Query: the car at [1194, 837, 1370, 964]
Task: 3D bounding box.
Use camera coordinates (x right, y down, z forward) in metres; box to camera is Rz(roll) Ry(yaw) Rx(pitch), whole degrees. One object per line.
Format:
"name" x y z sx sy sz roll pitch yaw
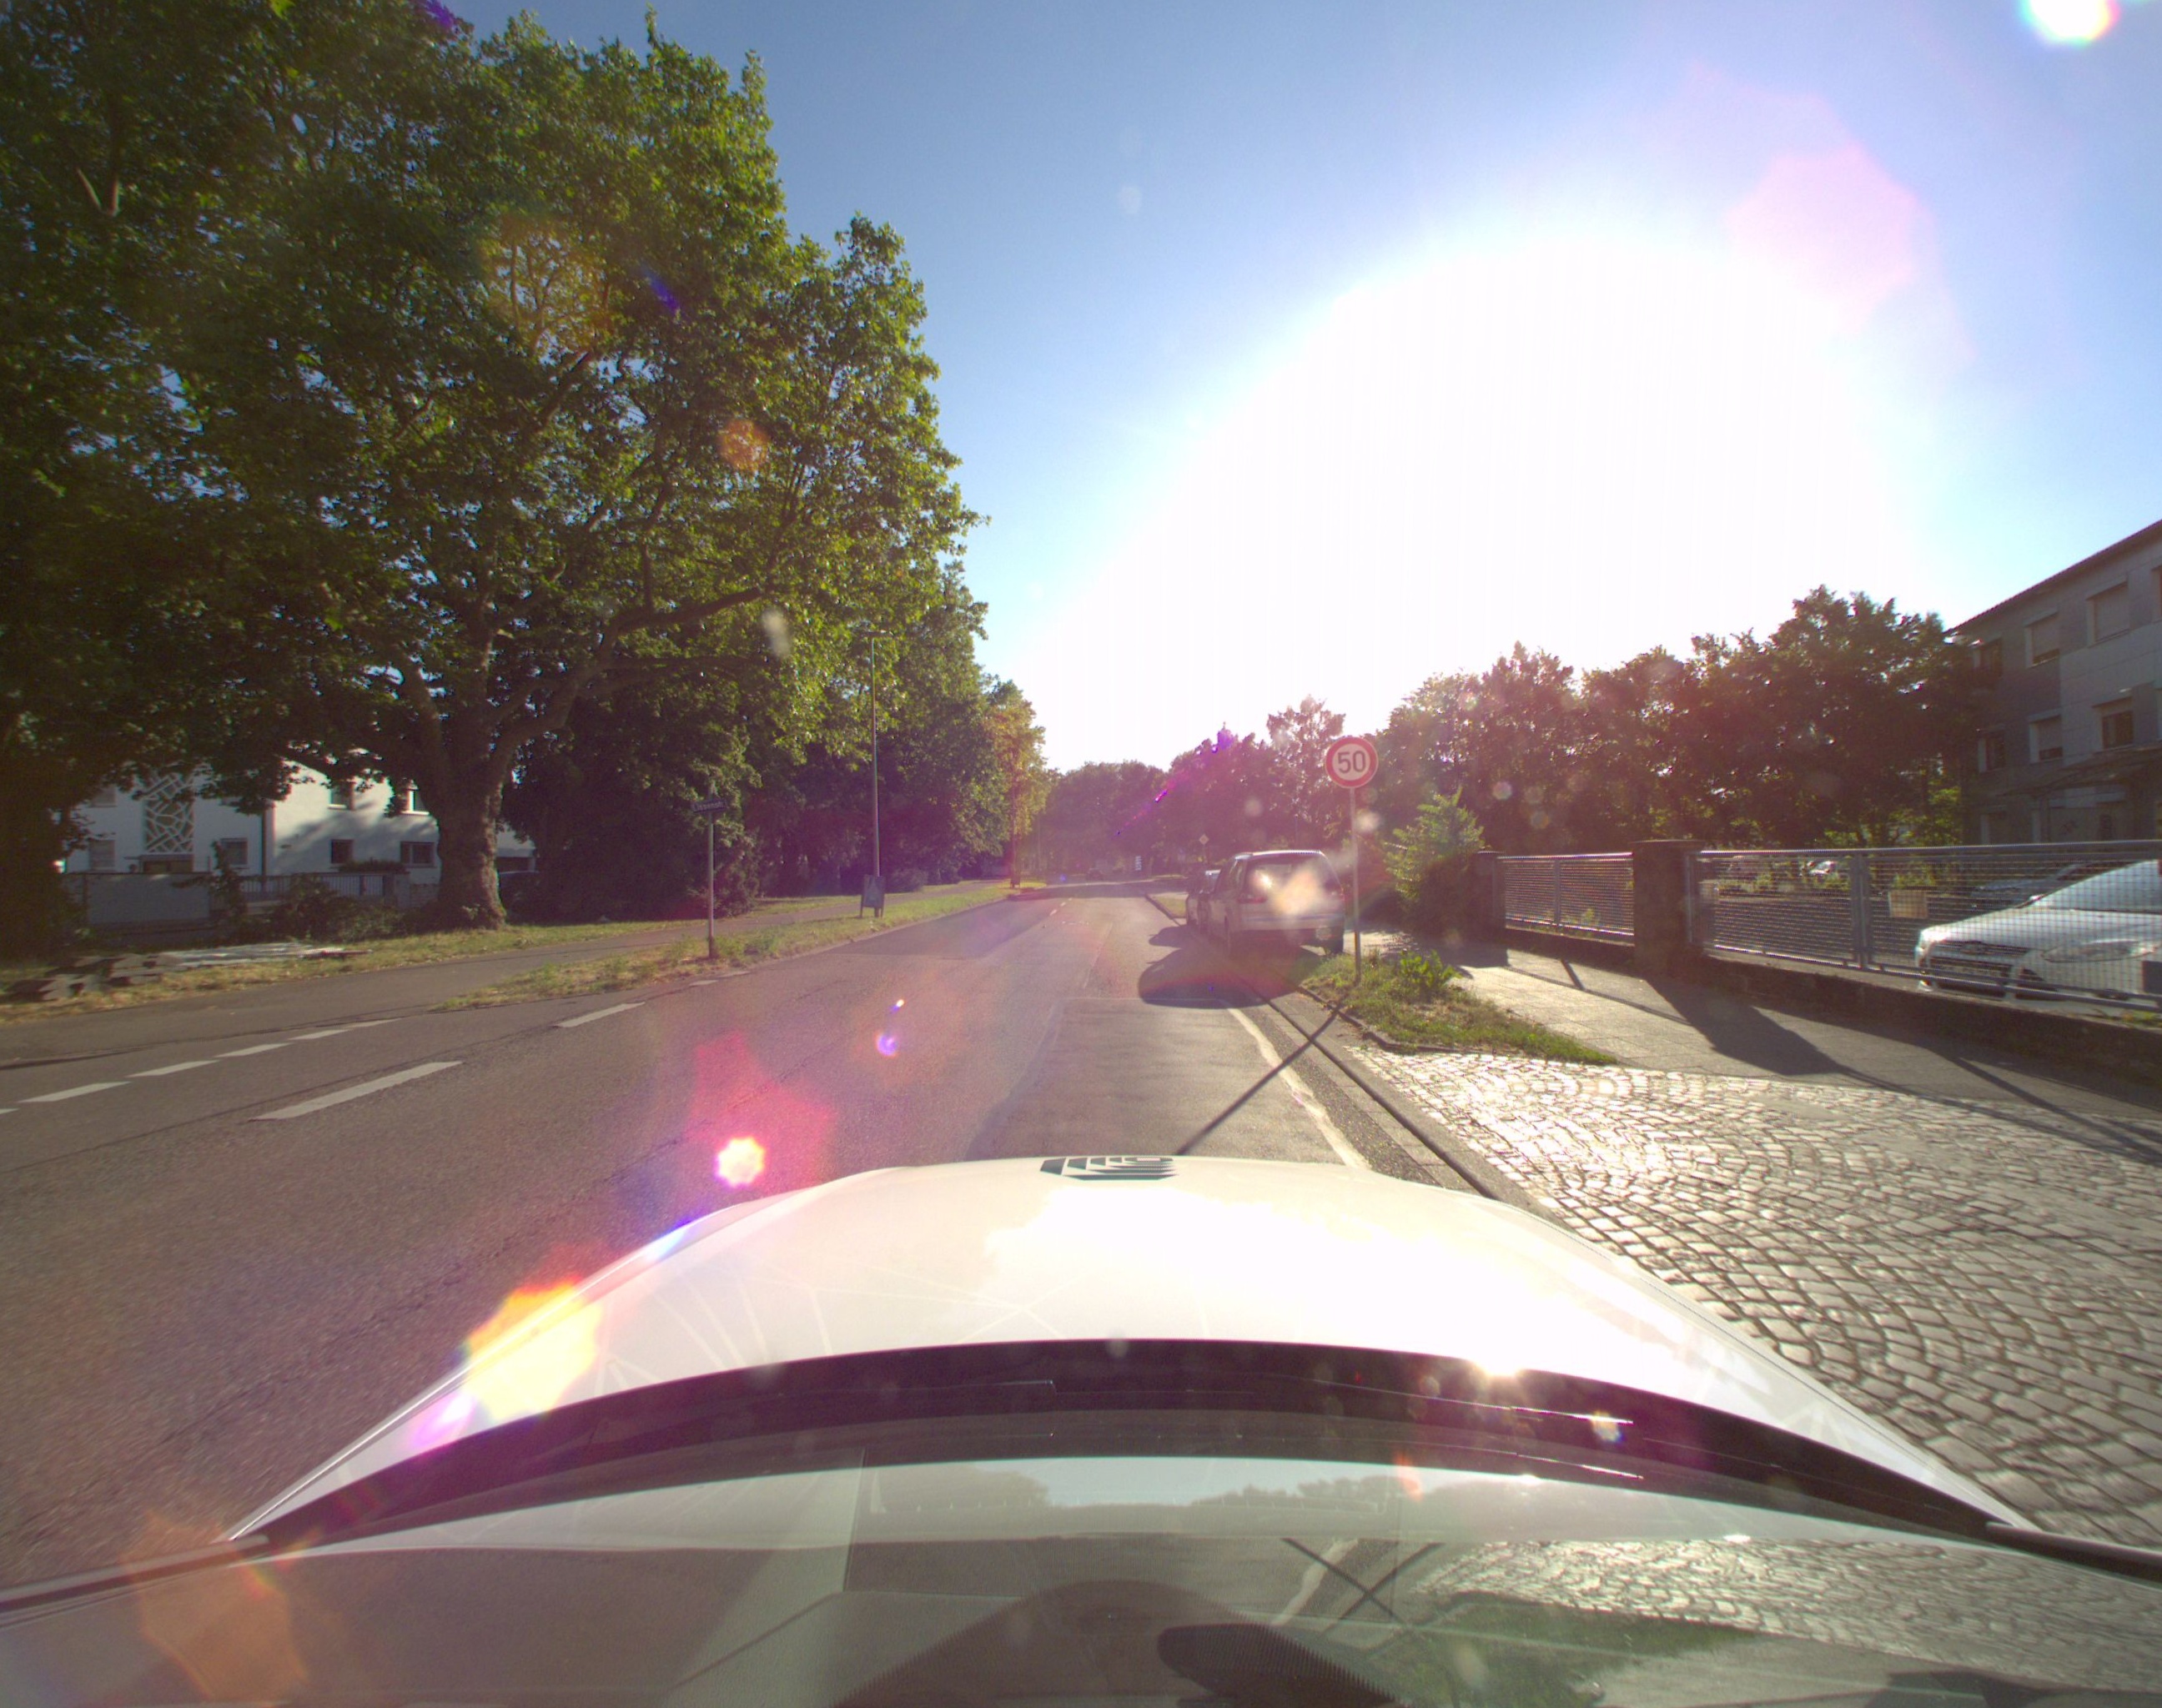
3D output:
"car" 3.353 0.743 14.681 1.986 1.759 4.919 -4 -1 2

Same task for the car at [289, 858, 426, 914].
"car" -31.975 1.394 36.092 4.298 2.289 2.001 -1 -1 2

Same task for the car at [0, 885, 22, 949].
"car" -27.597 1.557 18.294 1.852 1.561 4.360 -1 -1 1

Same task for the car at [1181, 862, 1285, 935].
"car" 3.570 1.003 19.922 1.775 1.515 4.691 -2 -1 2

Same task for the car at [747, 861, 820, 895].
"car" -18.680 1.481 51.310 3.983 2.044 1.904 0 1 -7

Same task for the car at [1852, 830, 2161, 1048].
"car" 9.230 0.617 6.685 3.970 1.560 1.843 0 -1 3

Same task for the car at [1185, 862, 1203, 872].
"car" 16.567 1.847 119.415 1.837 1.420 3.996 -1 -1 -2

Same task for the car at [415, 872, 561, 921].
"car" -21.485 1.509 29.607 3.975 1.684 1.726 -1 -1 -1

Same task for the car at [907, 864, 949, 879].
"car" -15.553 1.769 82.845 3.981 1.508 1.909 1 -1 -6

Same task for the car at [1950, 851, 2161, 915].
"car" 26.297 0.766 21.593 3.951 1.574 1.920 -2 -2 24

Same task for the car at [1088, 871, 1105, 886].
"car" 1.840 2.811 94.242 1.832 1.605 3.864 -2 -1 2

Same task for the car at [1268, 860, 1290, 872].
"car" 29.289 1.728 120.715 1.809 1.728 4.390 1 -1 -5
